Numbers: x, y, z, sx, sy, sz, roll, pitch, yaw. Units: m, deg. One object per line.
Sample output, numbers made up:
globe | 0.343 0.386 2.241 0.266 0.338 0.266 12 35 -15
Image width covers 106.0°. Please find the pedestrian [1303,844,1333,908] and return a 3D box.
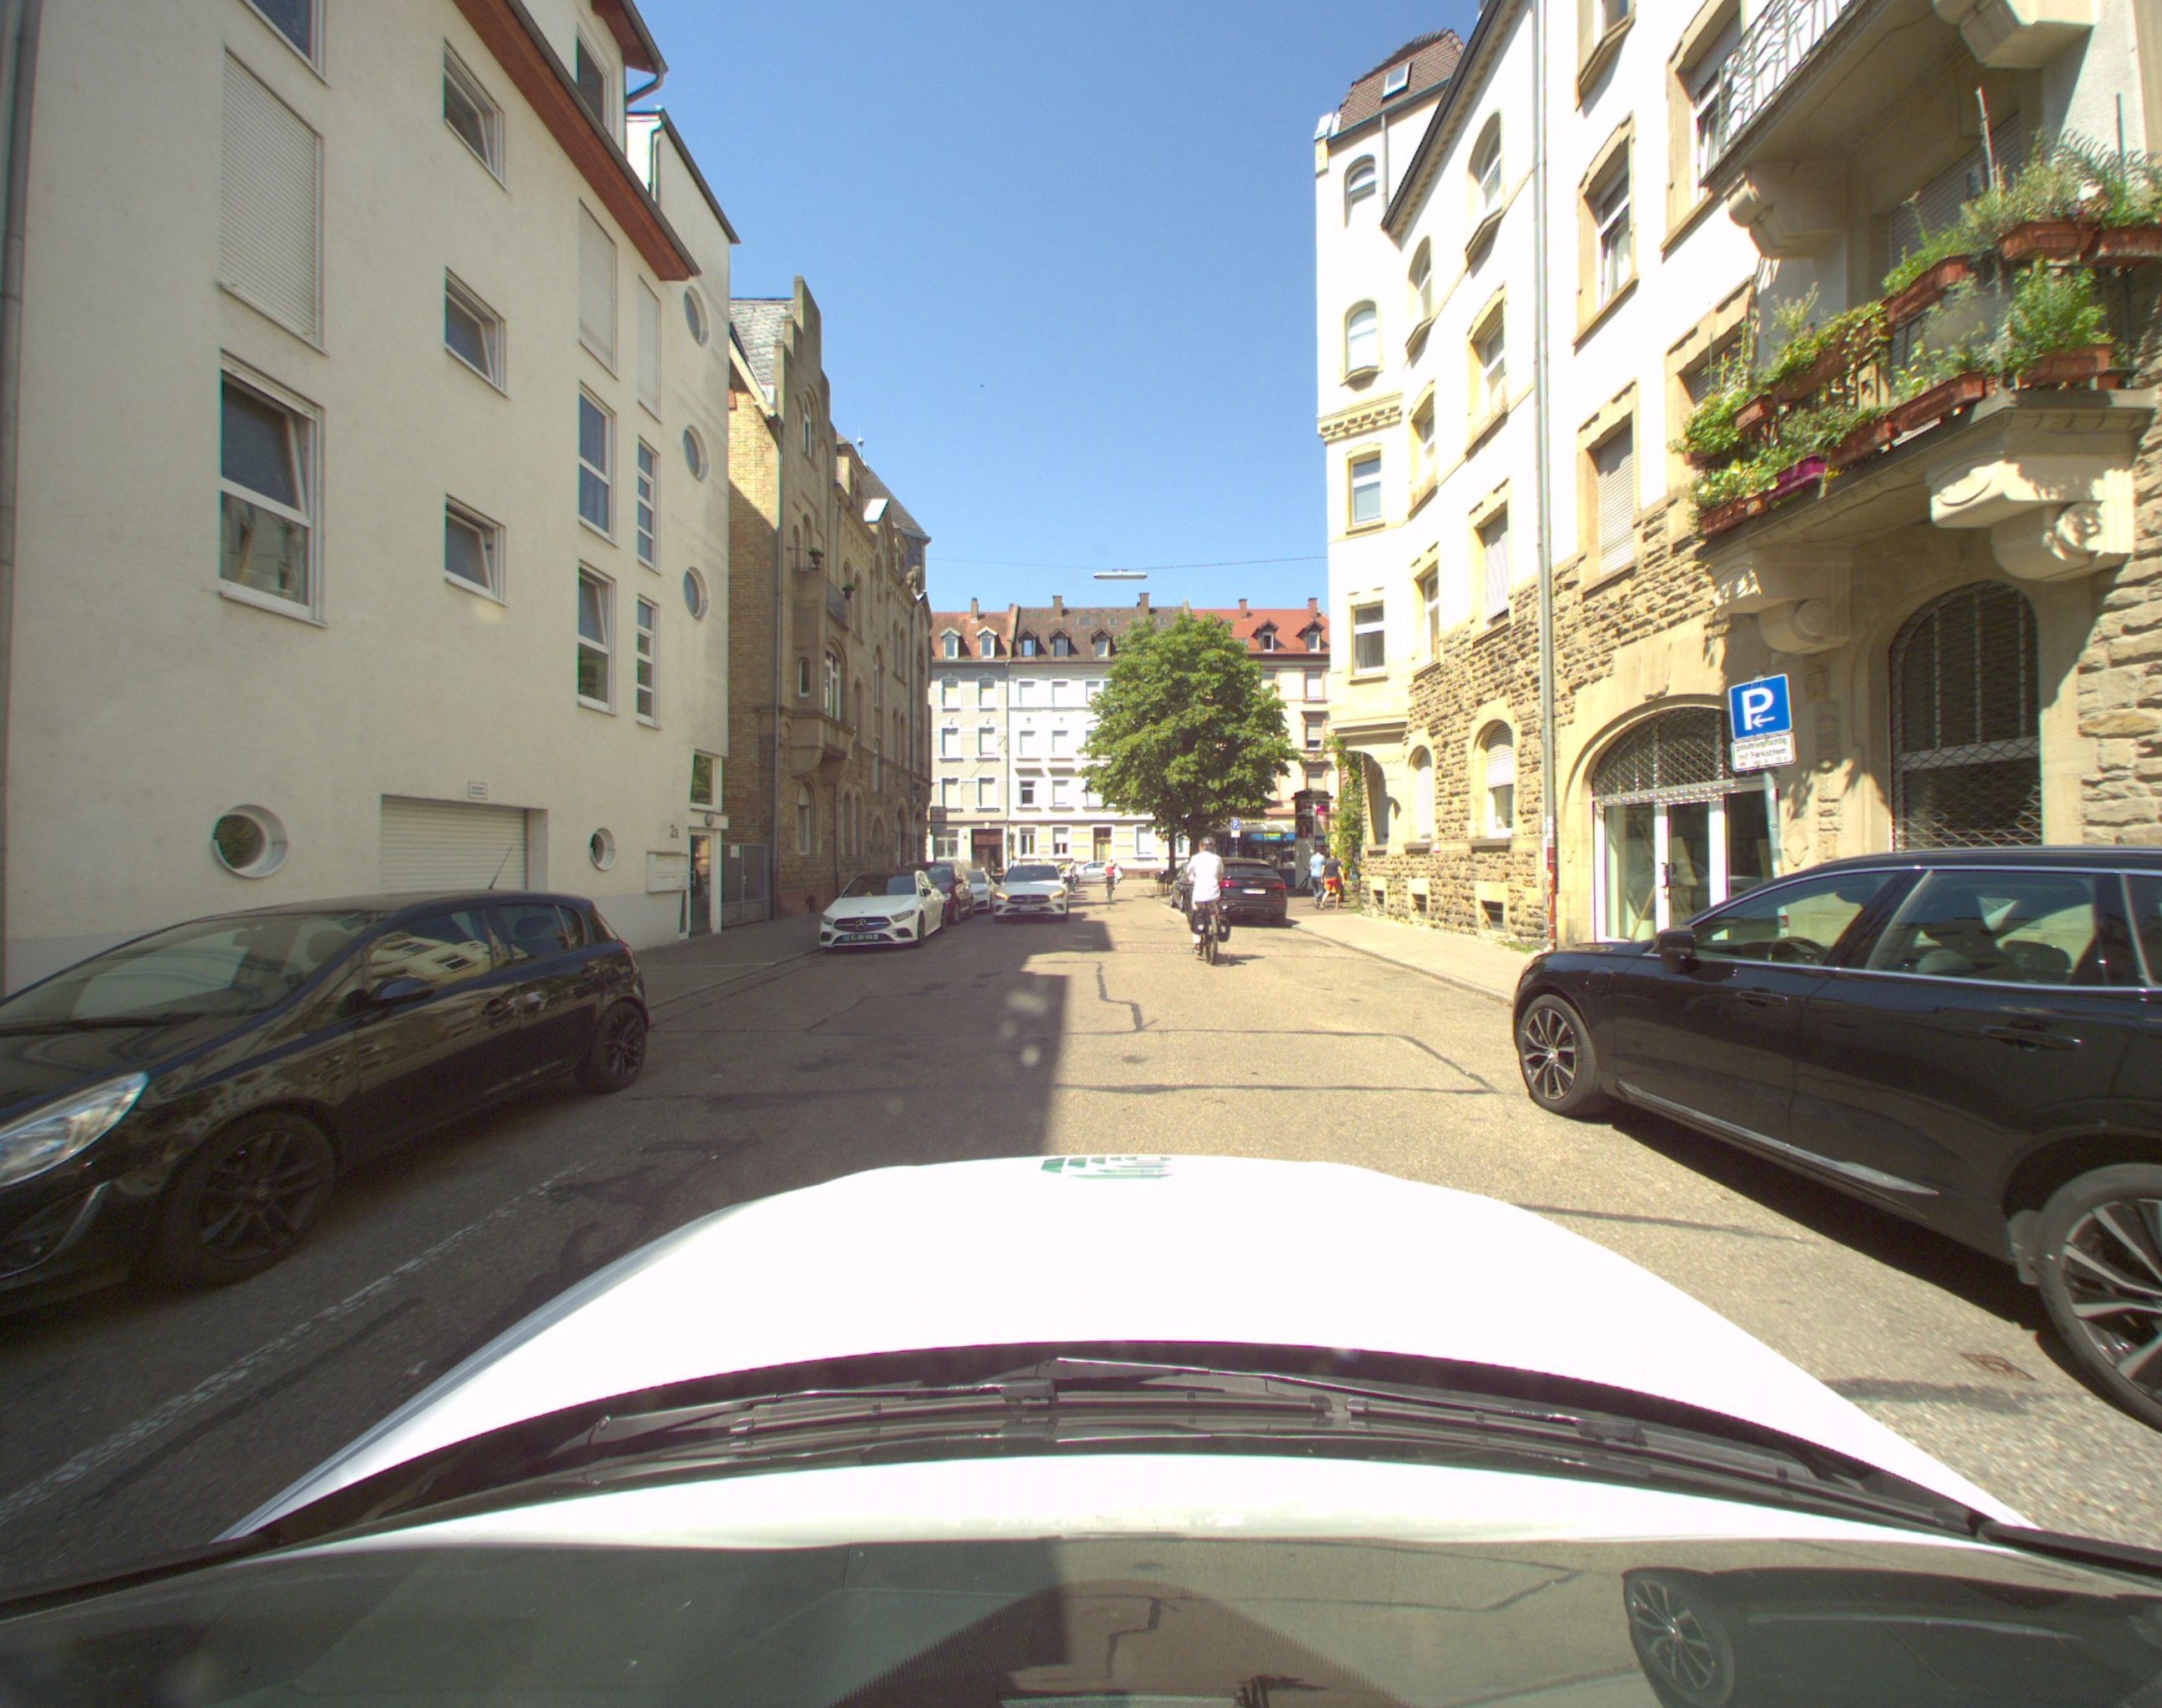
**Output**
pedestrian | 6.999 0.634 24.023 0.653 1.869 0.517 0 -1 -19

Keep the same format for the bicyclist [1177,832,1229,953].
bicyclist | 1.827 0.568 12.248 0.668 1.760 0.609 1 -1 1

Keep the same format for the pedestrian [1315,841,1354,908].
pedestrian | 7.272 0.577 23.397 0.882 1.880 0.597 0 -1 -18

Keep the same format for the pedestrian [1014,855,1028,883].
pedestrian | -4.012 0.994 54.414 0.899 1.814 0.959 -1 -1 -5

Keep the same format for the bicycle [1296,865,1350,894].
bicycle | 9.276 0.979 31.257 1.893 1.039 0.634 -1 -1 1

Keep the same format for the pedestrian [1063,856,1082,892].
pedestrian | -0.420 0.932 38.766 0.854 1.672 0.774 -1 -1 1

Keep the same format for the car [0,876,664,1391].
car | -4.032 0.923 4.310 1.562 1.492 3.893 -3 -1 0

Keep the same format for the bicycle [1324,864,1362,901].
bicycle | 8.752 0.922 27.134 0.786 1.169 2.593 -1 -1 27

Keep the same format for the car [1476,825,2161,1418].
car | 3.782 0.747 3.583 1.827 1.567 4.603 2 -1 0

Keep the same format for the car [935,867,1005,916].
car | -3.495 1.149 26.370 1.697 1.352 4.512 -3 -1 -2

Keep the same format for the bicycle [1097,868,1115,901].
bicycle | 0.991 1.159 31.901 0.649 1.209 2.442 1 -1 2

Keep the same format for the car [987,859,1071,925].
car | -1.245 0.919 21.375 1.835 1.461 4.362 -3 -1 0

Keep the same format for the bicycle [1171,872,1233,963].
bicycle | 1.823 0.914 12.593 0.649 1.228 2.442 1 -1 2

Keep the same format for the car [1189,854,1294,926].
car | 3.967 0.853 20.849 1.731 1.597 4.345 2 -1 -1

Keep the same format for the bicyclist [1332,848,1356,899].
bicyclist | 8.763 0.650 27.148 0.671 1.648 0.665 -1 -1 24

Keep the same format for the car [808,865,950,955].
car | -3.826 0.996 16.193 1.771 1.460 4.276 -3 -1 -1

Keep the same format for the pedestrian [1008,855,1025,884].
pedestrian | -4.249 1.014 53.482 0.844 1.889 0.938 -1 -1 11

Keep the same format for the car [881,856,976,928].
car | -3.808 0.907 20.951 1.667 1.583 4.050 -3 -1 -1

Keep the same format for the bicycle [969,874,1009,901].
bicycle | -3.725 1.358 33.020 1.522 1.008 0.366 2 -1 -4

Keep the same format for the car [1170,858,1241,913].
car | 3.879 0.946 25.973 1.657 1.540 4.178 2 -1 1

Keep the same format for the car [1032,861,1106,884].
car | -0.773 1.214 54.453 4.843 1.437 2.000 -1 -1 0

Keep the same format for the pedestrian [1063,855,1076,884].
pedestrian | -0.739 1.004 53.150 0.724 1.853 0.683 -1 -1 -9

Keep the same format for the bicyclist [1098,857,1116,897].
bicyclist | 1.008 0.883 31.870 0.668 1.533 0.609 -1 -1 1

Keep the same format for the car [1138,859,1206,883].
car | 5.996 1.117 53.789 4.280 1.370 1.807 -1 2 0
